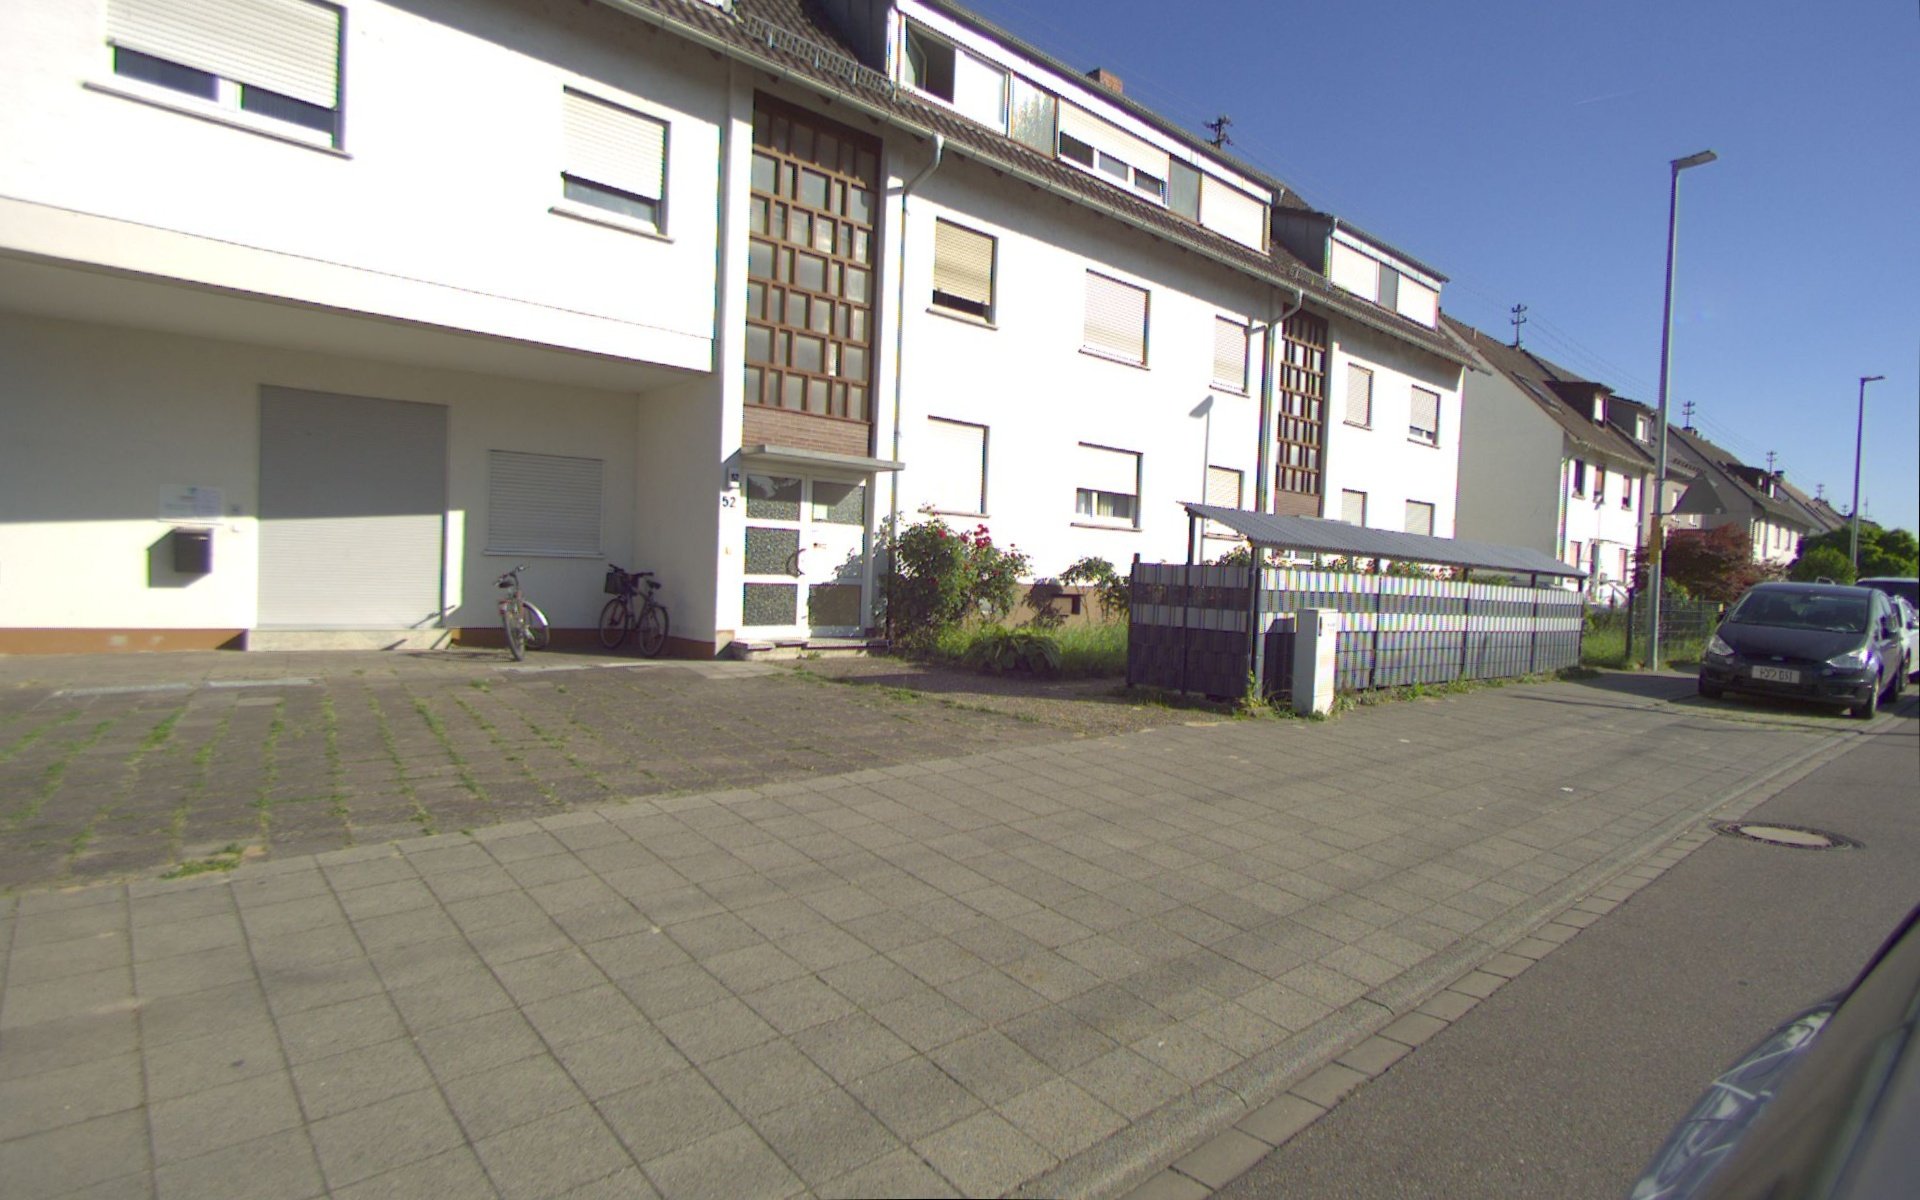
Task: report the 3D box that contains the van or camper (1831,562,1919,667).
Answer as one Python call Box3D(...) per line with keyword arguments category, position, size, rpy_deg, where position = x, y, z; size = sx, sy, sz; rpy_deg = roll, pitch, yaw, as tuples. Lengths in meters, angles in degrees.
Box3D(category="van or camper", position=(20.570, 0.326, 21.358), size=(5.194, 1.980, 2.035), rpy_deg=(1, 2, -35))

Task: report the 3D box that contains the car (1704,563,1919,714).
Box3D(category="car", position=(12.092, 0.449, 14.106), size=(4.778, 1.648, 1.795), rpy_deg=(1, 5, -43))

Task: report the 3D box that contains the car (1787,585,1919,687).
Box3D(category="car", position=(16.048, 0.551, 17.688), size=(4.085, 1.510, 1.661), rpy_deg=(0, 3, -40))

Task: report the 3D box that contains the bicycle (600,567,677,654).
Box3D(category="bicycle", position=(-4.050, 0.102, 12.692), size=(0.326, 1.015, 1.713), rpy_deg=(0, 2, -38))

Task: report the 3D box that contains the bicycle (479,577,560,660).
Box3D(category="bicycle", position=(-5.065, 0.182, 11.713), size=(0.481, 0.882, 1.546), rpy_deg=(1, 2, -9))

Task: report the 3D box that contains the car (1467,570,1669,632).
Box3D(category="car", position=(17.771, -0.044, 29.772), size=(1.875, 1.495, 4.719), rpy_deg=(-1, 4, -43))

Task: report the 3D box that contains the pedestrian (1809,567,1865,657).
Box3D(category="pedestrian", position=(19.165, 0.250, 22.116), size=(0.744, 1.936, 0.701), rpy_deg=(1, 1, -33))
